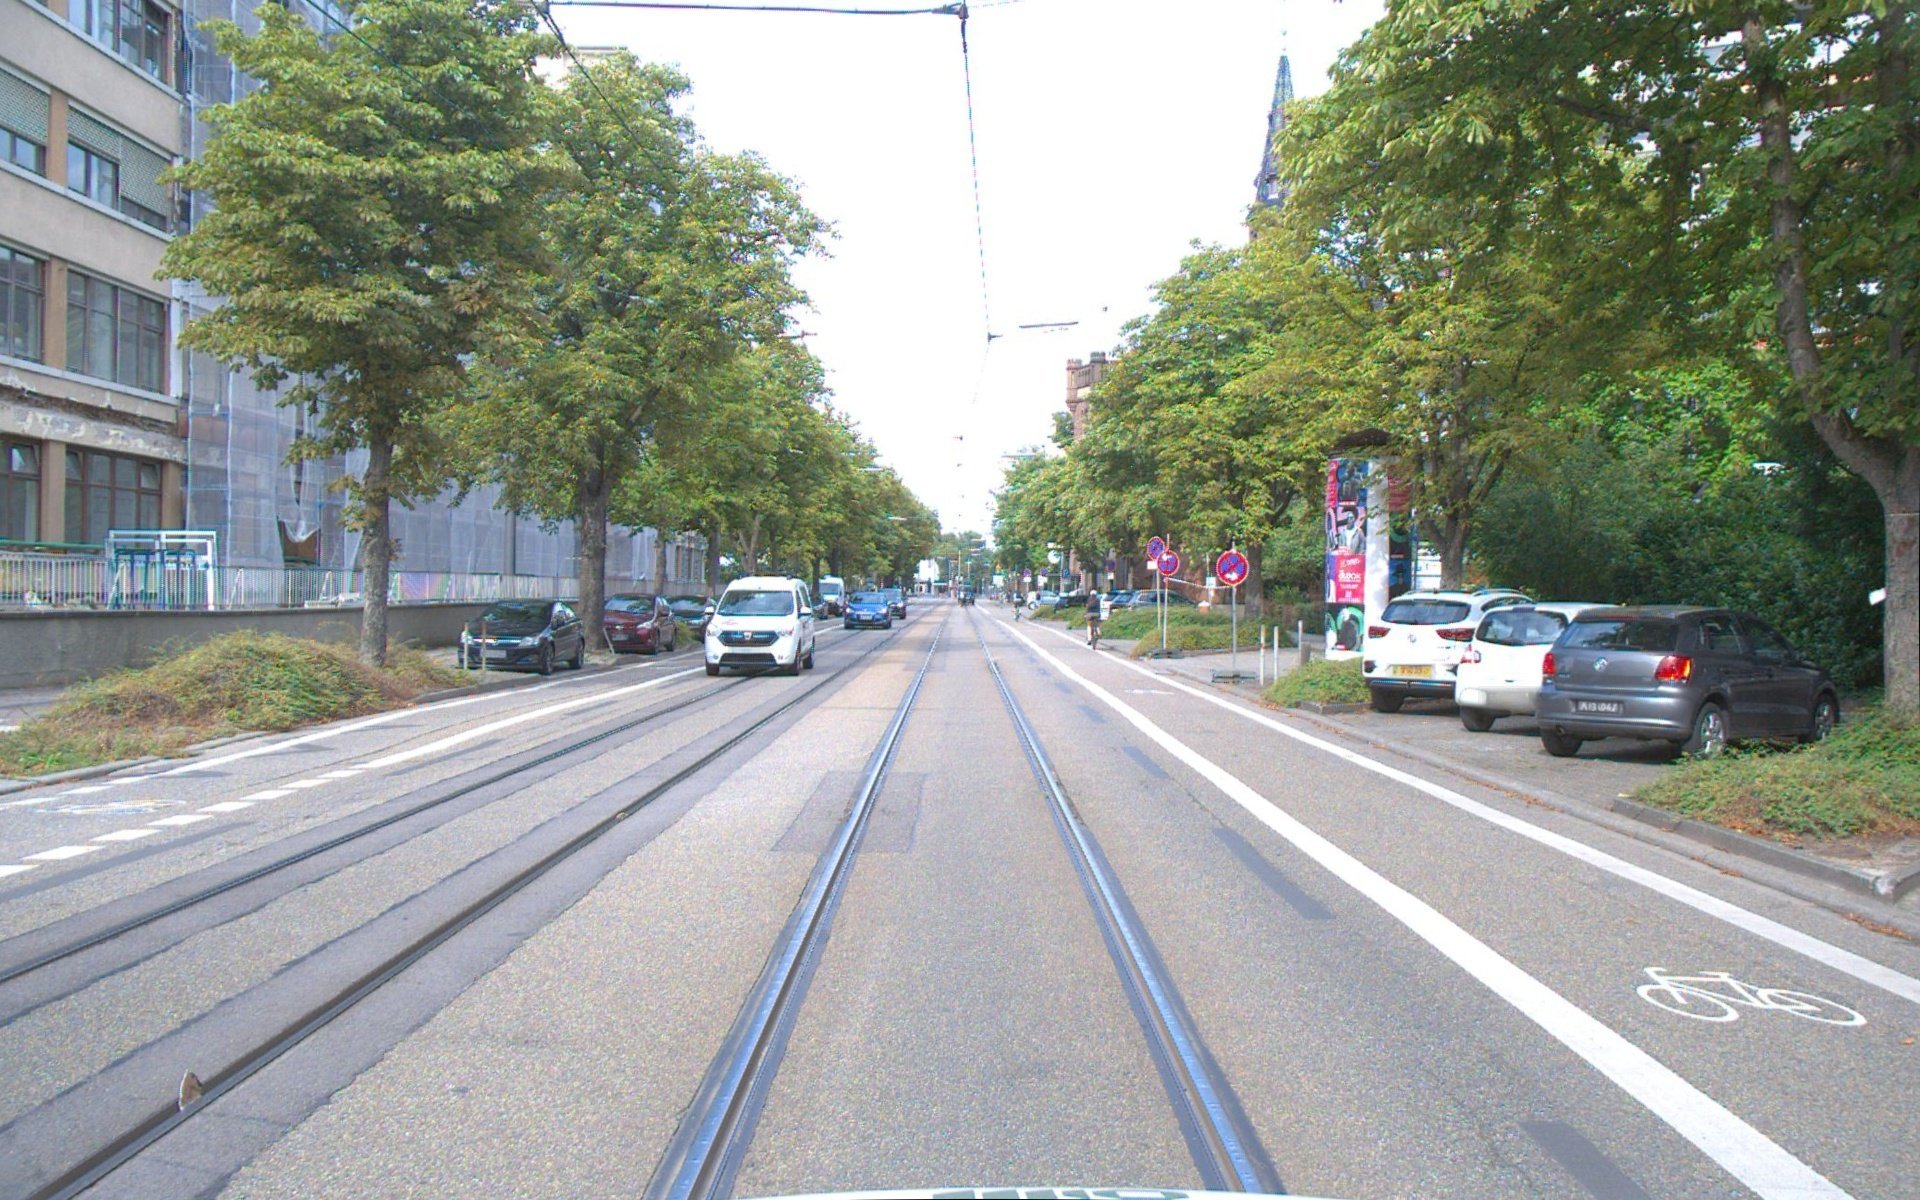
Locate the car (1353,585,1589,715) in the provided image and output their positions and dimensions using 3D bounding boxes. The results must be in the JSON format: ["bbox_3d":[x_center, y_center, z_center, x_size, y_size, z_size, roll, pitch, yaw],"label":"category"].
[{"bbox_3d":[7.050,0.638,22.644,1.654,1.630,3.621,0,0,44],"label":"car"}]

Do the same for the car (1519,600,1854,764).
[{"bbox_3d":[7.307,0.747,16.504,3.612,1.444,1.658,1,0,-40],"label":"car"}]

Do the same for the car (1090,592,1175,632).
[{"bbox_3d":[7.151,0.498,68.486,1.654,1.630,3.621,0,0,44],"label":"car"}]

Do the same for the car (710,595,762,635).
[{"bbox_3d":[-8.409,0.537,62.285,1.558,1.427,3.961,1,0,-2],"label":"car"}]

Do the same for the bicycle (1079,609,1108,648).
[{"bbox_3d":[3.811,0.811,47.225,0.581,1.062,1.977,1,0,-2],"label":"bicycle"}]

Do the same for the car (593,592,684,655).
[{"bbox_3d":[-8.262,0.565,42.775,1.602,1.522,3.962,1,0,-1],"label":"car"}]

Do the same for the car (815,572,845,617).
[{"bbox_3d":[-8.322,-0.346,106.355,1.686,2.751,5.468,1,0,-2],"label":"car"}]

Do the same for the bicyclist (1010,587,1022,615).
[{"bbox_3d":[3.053,0.043,90.182,0.645,1.522,0.929,1,0,0],"label":"bicyclist"}]

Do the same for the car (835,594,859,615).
[{"bbox_3d":[-8.119,0.290,118.839,1.558,1.427,3.961,1,0,-2],"label":"car"}]

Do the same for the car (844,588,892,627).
[{"bbox_3d":[-3.693,0.274,66.928,1.697,1.522,4.378,0,1,0],"label":"car"}]

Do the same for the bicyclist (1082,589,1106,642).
[{"bbox_3d":[3.820,0.429,47.226,0.581,1.485,0.875,1,0,-2],"label":"bicyclist"}]

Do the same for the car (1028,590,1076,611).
[{"bbox_3d":[8.078,0.019,144.867,3.910,1.722,1.998,1,0,-6],"label":"car"}]

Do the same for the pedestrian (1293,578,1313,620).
[{"bbox_3d":[15.494,-0.042,74.714,0.769,1.858,0.662,1,0,20],"label":"pedestrian"}]

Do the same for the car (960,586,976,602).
[{"bbox_3d":[0.920,-0.686,198.548,1.758,1.855,4.677,1,0,-1],"label":"car"}]

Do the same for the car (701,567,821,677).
[{"bbox_3d":[-3.686,0.369,31.317,1.696,1.917,4.378,1,0,0],"label":"car"}]

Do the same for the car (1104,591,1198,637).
[{"bbox_3d":[7.152,0.523,61.688,1.654,1.630,3.621,0,0,44],"label":"car"}]

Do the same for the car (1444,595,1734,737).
[{"bbox_3d":[7.437,0.723,19.433,3.612,1.500,1.658,1,0,-40],"label":"car"}]

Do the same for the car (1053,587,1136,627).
[{"bbox_3d":[5.765,0.308,70.614,1.654,1.630,3.621,0,0,44],"label":"car"}]

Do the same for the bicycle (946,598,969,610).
[{"bbox_3d":[-0.272,0.385,168.484,2.226,1.210,0.769,1,0,7],"label":"bicycle"}]

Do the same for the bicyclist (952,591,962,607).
[{"bbox_3d":[-0.313,-0.106,168.489,0.828,1.531,0.769,1,0,7],"label":"bicyclist"}]

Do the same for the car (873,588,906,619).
[{"bbox_3d":[-3.912,0.198,91.889,1.697,1.657,4.377,-1,0,-1],"label":"car"}]

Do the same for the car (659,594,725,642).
[{"bbox_3d":[-8.378,0.535,51.974,1.558,1.427,3.961,1,0,-2],"label":"car"}]

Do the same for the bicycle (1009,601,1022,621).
[{"bbox_3d":[3.041,0.610,90.173,0.650,1.062,1.841,1,0,0],"label":"bicycle"}]

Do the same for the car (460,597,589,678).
[{"bbox_3d":[-8.378,0.679,32.114,1.558,1.427,3.961,1,0,-2],"label":"car"}]

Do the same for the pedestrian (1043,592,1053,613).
[{"bbox_3d":[7.719,0.228,144.767,0.732,1.821,0.731,1,-1,15],"label":"pedestrian"}]
